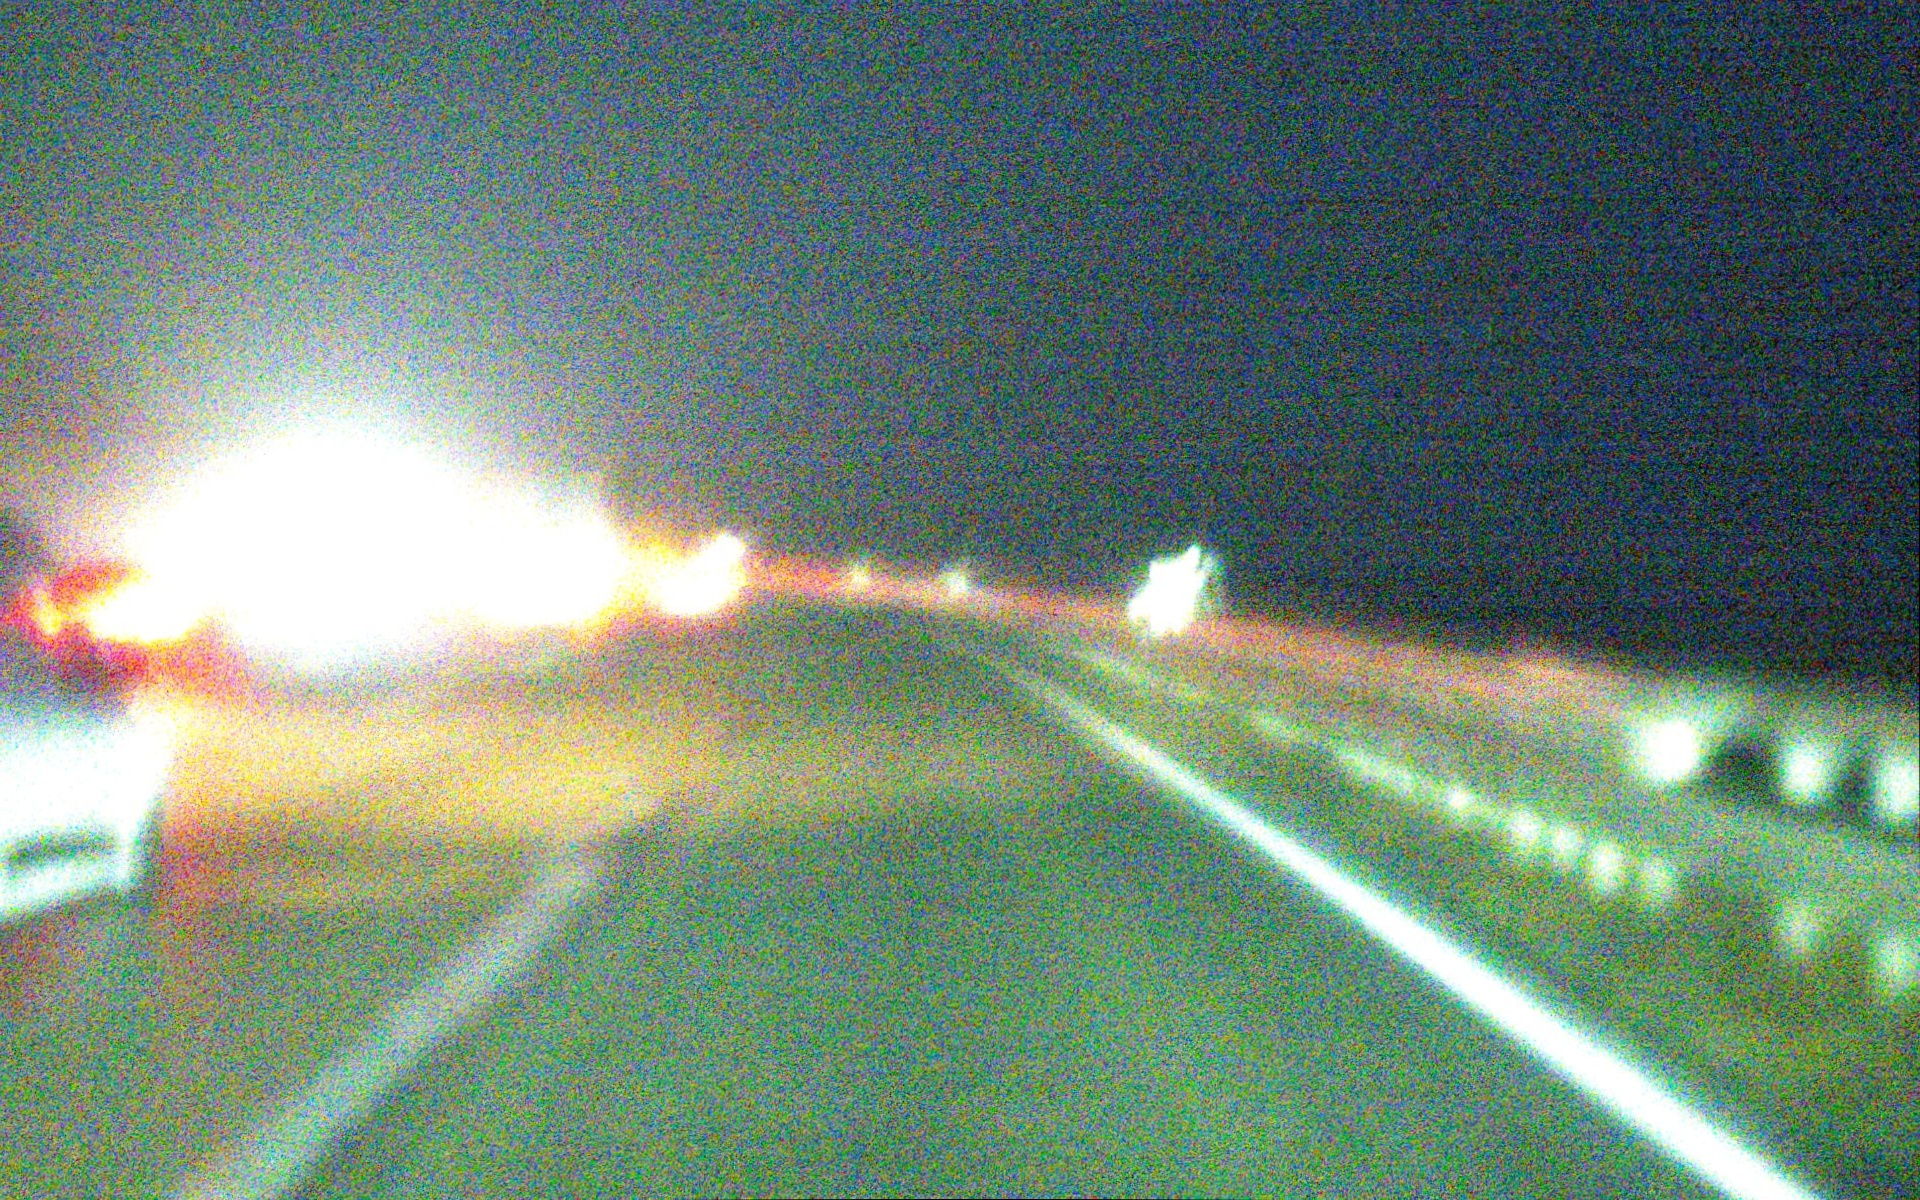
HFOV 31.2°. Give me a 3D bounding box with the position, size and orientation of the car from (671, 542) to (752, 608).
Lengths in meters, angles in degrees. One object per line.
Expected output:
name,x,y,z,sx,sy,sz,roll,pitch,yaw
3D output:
car,-7.474,-0.754,103.796,1.993,1.812,4.000,4,0,1

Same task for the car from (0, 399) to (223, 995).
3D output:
car,-4.246,0.315,12.807,1.993,2.007,5.017,0,0,-1

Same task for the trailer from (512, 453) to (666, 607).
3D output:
trailer,-9.959,-1.800,93.621,2.591,3.712,13.653,4,0,0

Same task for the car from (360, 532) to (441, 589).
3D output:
car,-17.407,-1.238,107.064,1.993,1.612,4.001,3,1,-3

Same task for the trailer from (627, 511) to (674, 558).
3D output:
trailer,-19.421,-4.065,215.254,2.687,2.690,12.860,4,0,-5

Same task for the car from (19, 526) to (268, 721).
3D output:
car,-9.351,0.238,39.731,1.993,2.007,4.568,4,0,-4
